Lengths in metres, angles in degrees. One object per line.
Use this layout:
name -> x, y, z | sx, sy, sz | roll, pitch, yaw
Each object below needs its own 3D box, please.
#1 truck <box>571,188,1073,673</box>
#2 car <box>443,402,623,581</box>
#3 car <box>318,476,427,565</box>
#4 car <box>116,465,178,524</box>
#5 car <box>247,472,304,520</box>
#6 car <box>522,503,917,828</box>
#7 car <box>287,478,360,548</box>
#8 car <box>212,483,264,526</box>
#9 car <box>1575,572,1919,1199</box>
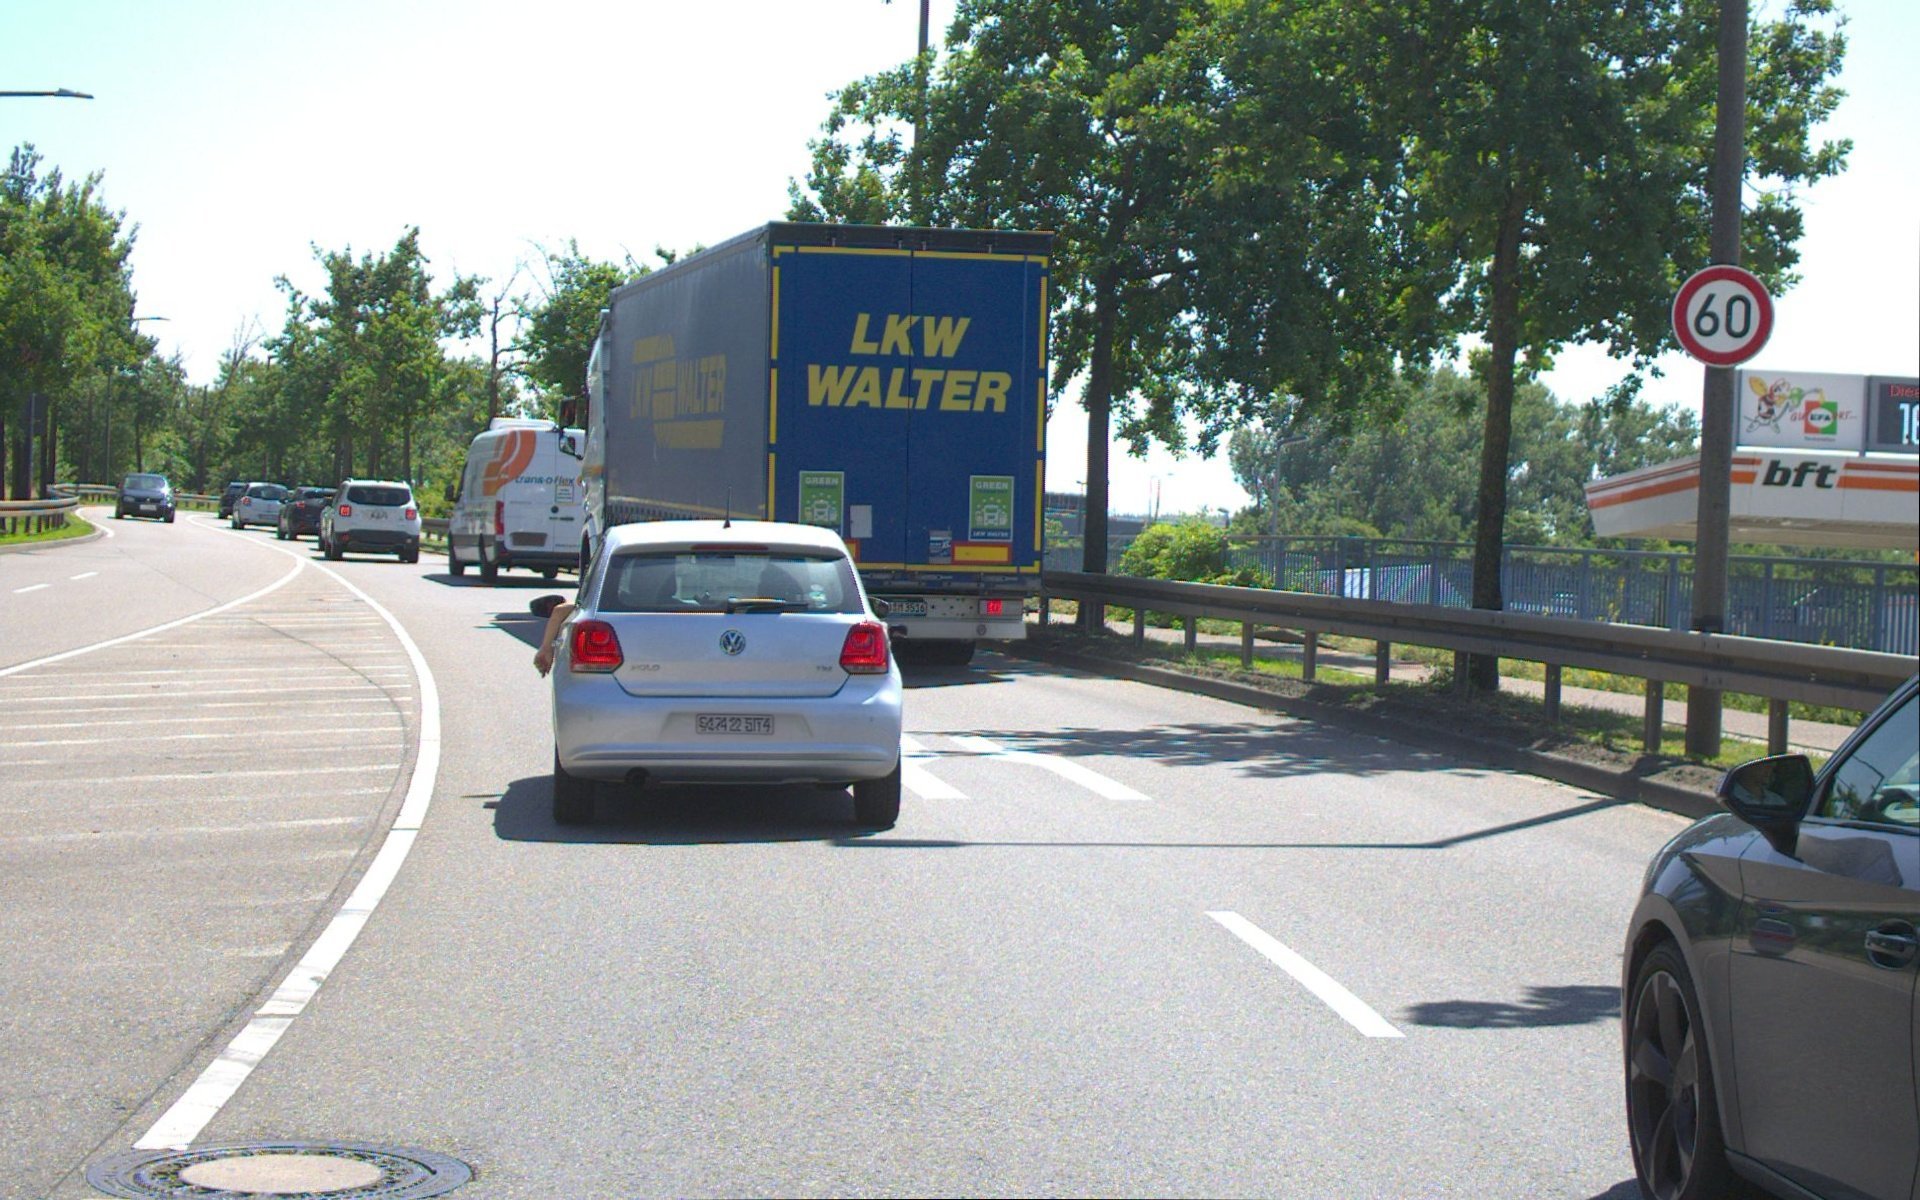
truck -> -2.114, -1.592, 38.542 | 2.832, 4.184, 16.479 | 2, 0, -12
car -> -7.561, -1.906, 60.259 | 2.175, 2.890, 6.360 | 2, 1, -15
car -> -12.288, -1.633, 71.715 | 1.903, 1.712, 4.225 | 2, 0, -14
car -> -25.086, -3.268, 106.154 | 1.678, 1.665, 3.756 | 1, 3, -11
car -> -21.067, -3.185, 105.776 | 1.607, 1.355, 3.664 | 2, 1, -12
car -> -1.313, 0.305, 17.427 | 1.645, 1.434, 3.538 | 2, 0, -9
car -> -17.062, -2.297, 92.058 | 1.721, 1.720, 4.001 | 2, 0, -13
car -> -27.385, -3.616, 130.417 | 1.664, 1.460, 3.581 | 2, 0, -8
car -> 2.378, 0.704, 5.701 | 1.604, 1.451, 4.236 | 2, 0, -5
